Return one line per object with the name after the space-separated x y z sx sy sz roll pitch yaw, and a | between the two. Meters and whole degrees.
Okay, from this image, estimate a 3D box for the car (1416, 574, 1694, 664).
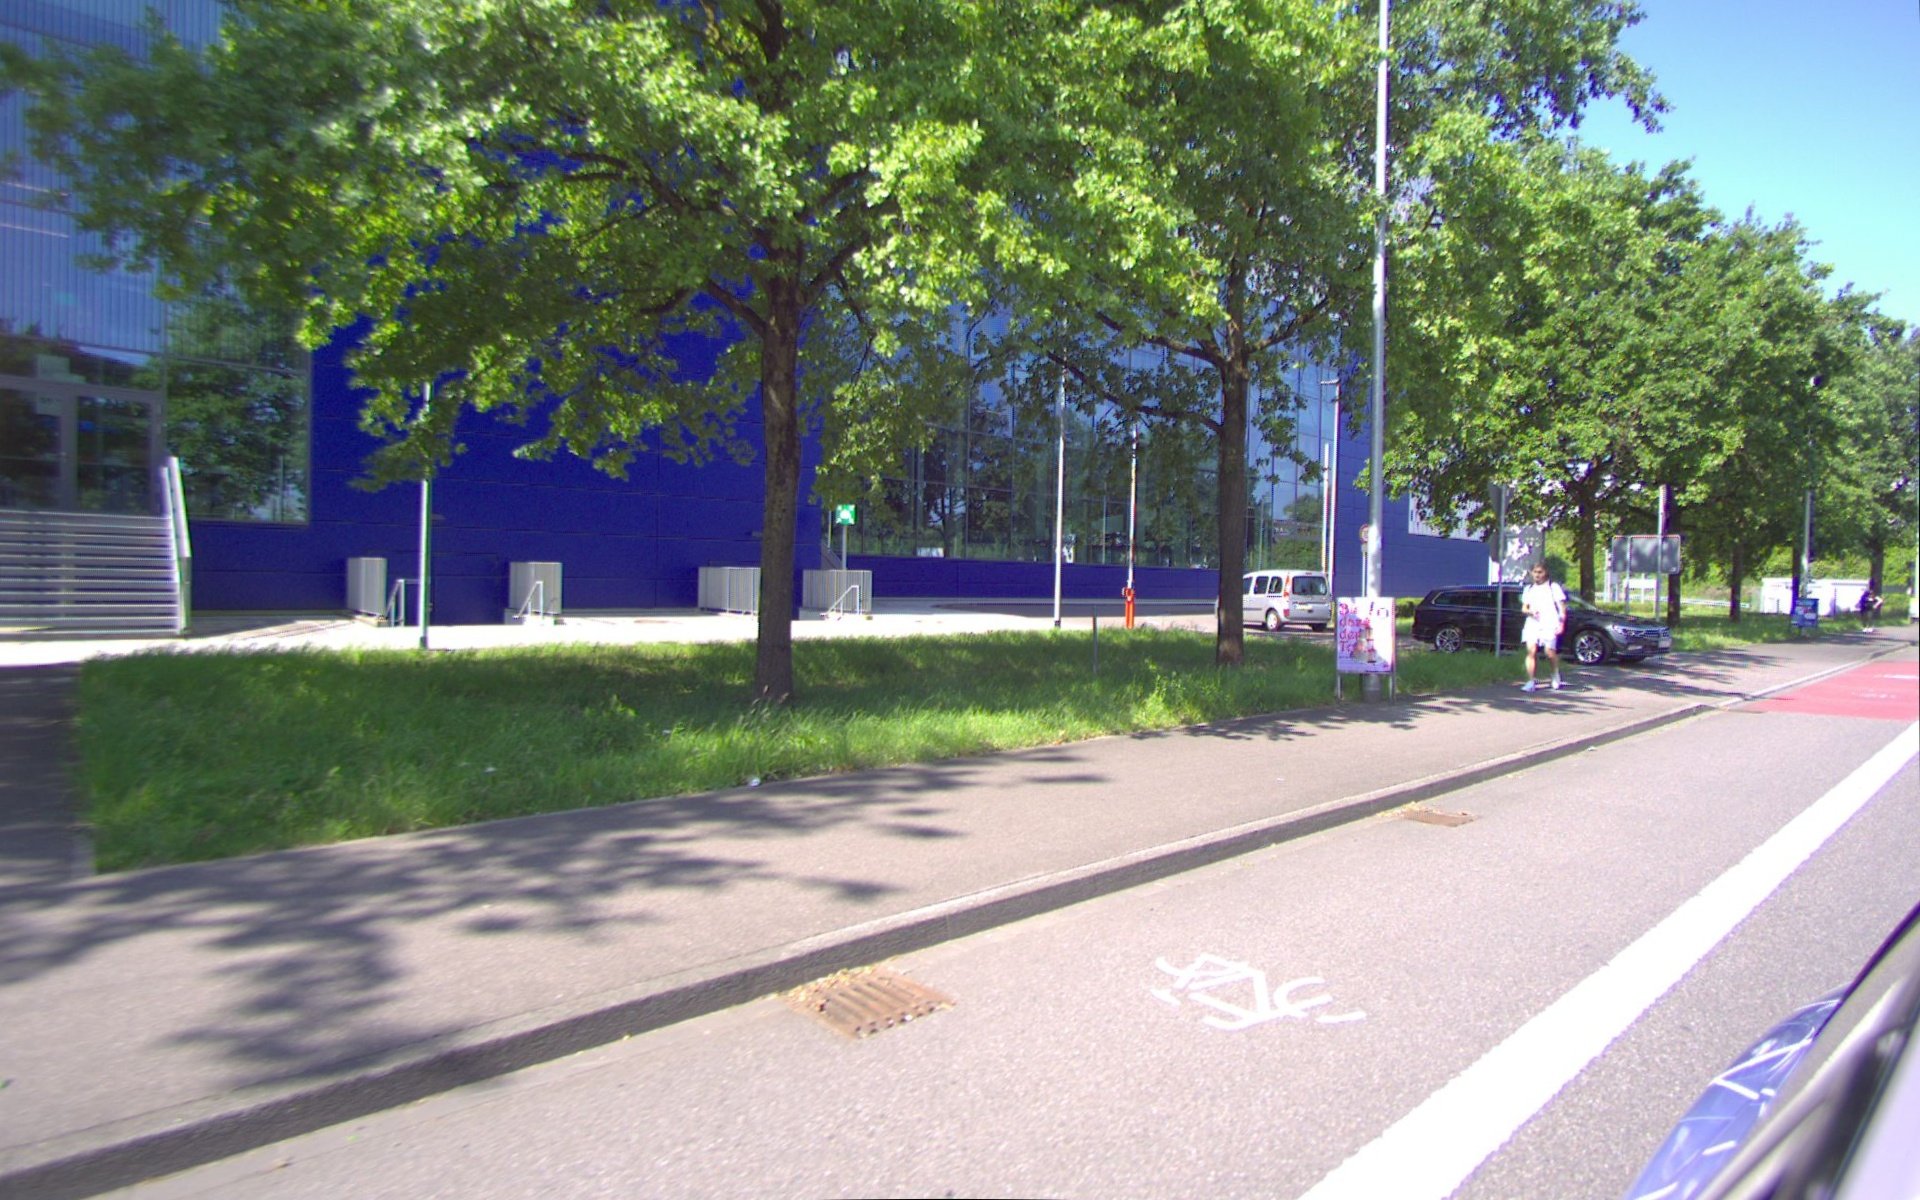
11.657 0.289 20.130 1.874 1.539 4.377 0 2 -33 | car

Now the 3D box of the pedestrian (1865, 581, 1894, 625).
34.480 0.106 37.944 0.832 1.623 0.648 0 1 -40 | pedestrian

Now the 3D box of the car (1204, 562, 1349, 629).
9.416 -0.185 30.458 1.871 1.851 4.189 1 2 -22 | car

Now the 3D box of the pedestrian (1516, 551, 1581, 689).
8.223 0.259 14.140 0.715 1.864 0.536 0 1 -41 | pedestrian
